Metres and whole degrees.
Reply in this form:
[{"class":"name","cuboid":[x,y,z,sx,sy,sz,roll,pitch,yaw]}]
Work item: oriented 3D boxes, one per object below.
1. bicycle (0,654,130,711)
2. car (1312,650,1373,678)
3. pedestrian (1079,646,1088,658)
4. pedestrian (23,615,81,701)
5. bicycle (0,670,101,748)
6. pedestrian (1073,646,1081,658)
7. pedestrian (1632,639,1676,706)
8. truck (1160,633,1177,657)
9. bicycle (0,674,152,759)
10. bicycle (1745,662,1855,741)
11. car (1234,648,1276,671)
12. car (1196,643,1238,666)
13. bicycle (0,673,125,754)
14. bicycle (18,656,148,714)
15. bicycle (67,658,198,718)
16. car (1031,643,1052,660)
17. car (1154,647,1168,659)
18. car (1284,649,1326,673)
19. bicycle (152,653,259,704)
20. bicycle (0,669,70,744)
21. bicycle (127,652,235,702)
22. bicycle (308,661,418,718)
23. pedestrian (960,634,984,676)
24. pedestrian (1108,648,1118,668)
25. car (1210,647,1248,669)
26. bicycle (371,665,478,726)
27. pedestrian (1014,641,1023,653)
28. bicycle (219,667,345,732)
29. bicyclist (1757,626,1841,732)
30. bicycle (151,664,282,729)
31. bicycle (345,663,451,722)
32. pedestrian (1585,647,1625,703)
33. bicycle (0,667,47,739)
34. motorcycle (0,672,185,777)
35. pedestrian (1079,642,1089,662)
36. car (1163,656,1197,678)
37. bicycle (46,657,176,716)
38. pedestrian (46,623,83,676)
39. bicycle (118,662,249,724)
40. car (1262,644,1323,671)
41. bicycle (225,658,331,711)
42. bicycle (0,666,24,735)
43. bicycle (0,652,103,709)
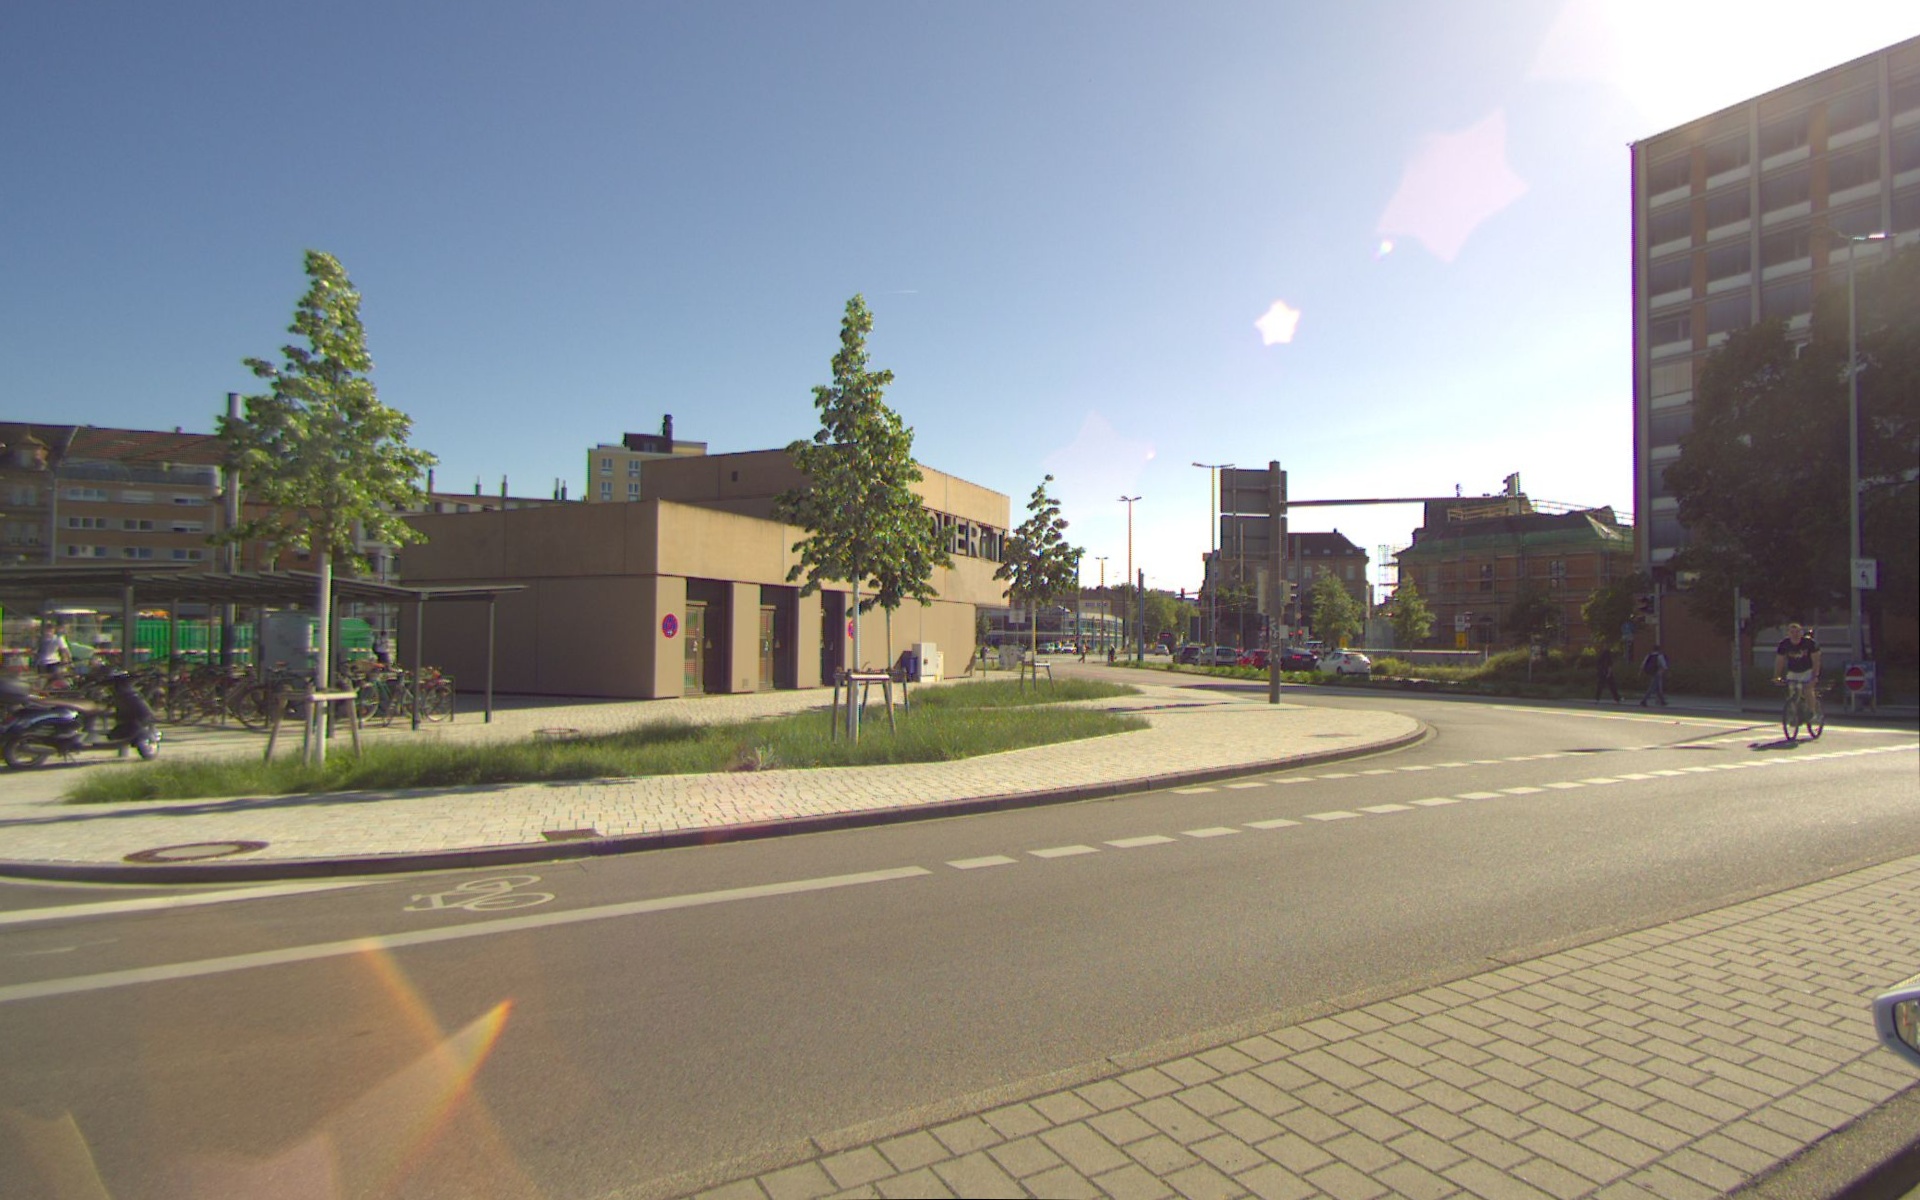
[{"class":"bicycle","cuboid":[-17.185,1.565,19.334,0.557,1.051,1.788,-1,-3,22]},{"class":"car","cuboid":[21.276,3.551,55.978,1.665,1.454,3.733,1,-2,-7]},{"class":"pedestrian","cuboid":[16.017,6.749,129.972,0.855,1.427,0.688,2,0,-32]},{"class":"pedestrian","cuboid":[-18.756,1.184,20.758,0.608,1.746,0.679,1,-2,-18]},{"class":"bicycle","cuboid":[-13.332,1.529,14.152,0.557,1.051,1.788,-1,-3,22]},{"class":"pedestrian","cuboid":[15.079,6.718,129.411,0.855,1.427,0.688,2,0,-32]},{"class":"pedestrian","cuboid":[19.800,2.062,28.656,1.086,1.856,0.748,4,-3,-38]},{"class":"truck","cuboid":[34.410,7.445,166.026,2.549,3.723,5.229,2,0,10]},{"class":"bicycle","cuboid":[-12.186,1.545,13.668,0.557,1.051,1.788,-1,-3,22]},{"class":"bicycle","cuboid":[13.444,1.590,16.075,1.848,1.180,0.742,2,-3,-30]},{"class":"car","cuboid":[20.253,4.063,69.066,1.644,1.461,3.722,3,-2,-2]},{"class":"car","cuboid":[17.448,3.678,68.299,1.697,1.461,3.798,1,-2,-3]},{"class":"bicycle","cuboid":[-12.784,1.550,13.928,0.557,1.051,1.788,-1,-3,22]},{"class":"bicycle","cuboid":[-16.624,1.586,19.097,0.557,1.051,1.788,-1,-3,22]},{"class":"bicycle","cuboid":[-15.242,1.596,18.558,0.557,1.051,1.788,-1,-3,22]},{"class":"car","cuboid":[11.091,6.952,136.556,1.960,2.040,4.001,2,0,16]},{"class":"car","cuboid":[27.767,7.322,138.871,1.750,1.565,3.642,2,0,13]},{"class":"car","cuboid":[25.875,4.575,75.462,1.846,1.638,3.626,2,-3,0]},{"class":"bicycle","cuboid":[-16.192,1.669,21.606,0.557,1.051,1.788,-1,-3,22]},{"class":"bicycle","cuboid":[-14.016,1.533,14.408,0.557,1.051,1.788,-1,-3,22]},{"class":"bicycle","cuboid":[-16.869,1.650,21.791,0.557,1.051,1.788,-1,-3,22]},{"class":"bicycle","cuboid":[-11.648,1.727,19.660,0.558,1.051,1.785,-2,-4,30]},{"class":"pedestrian","cuboid":[0.518,2.334,42.826,0.778,1.745,0.594,-2,-5,38]},{"class":"pedestrian","cuboid":[12.476,4.727,81.839,0.566,1.632,0.565,2,0,-30]},{"class":"car","cuboid":[20.248,4.361,75.666,1.697,1.461,3.799,3,-2,-2]},{"class":"bicycle","cuboid":[-9.849,1.737,18.548,0.557,1.051,1.788,-1,-3,22]},{"class":"pedestrian","cuboid":[7.410,5.899,126.512,0.854,1.427,0.689,2,0,-28]},{"class":"bicycle","cuboid":[-11.677,1.688,17.365,0.557,1.051,1.788,-1,-3,22]},{"class":"bicyclist","cuboid":[13.418,1.250,16.070,0.966,1.642,0.716,2,-3,-30]},{"class":"bicycle","cuboid":[-12.946,1.661,17.561,0.557,1.051,1.788,-1,-3,22]},{"class":"bicycle","cuboid":[-10.638,1.724,19.076,0.557,1.051,1.788,-1,-3,22]},{"class":"pedestrian","cuboid":[19.025,2.199,29.644,0.670,1.633,0.718,1,-2,-11]},{"class":"bicycle","cuboid":[-14.592,1.517,14.650,0.557,1.051,1.788,-1,-3,22]},{"class":"motorcycle","cuboid":[-10.927,1.502,12.484,0.584,1.134,1.983,0,-2,26]},{"class":"pedestrian","cuboid":[10.351,4.347,83.993,0.643,1.632,0.676,2,0,-4]},{"class":"car","cuboid":[16.411,4.957,75.068,1.696,1.461,3.912,3,-2,2]},{"class":"bicycle","cuboid":[-15.884,1.594,18.855,0.557,1.051,1.788,-1,-3,22]},{"class":"pedestrian","cuboid":[-26.119,1.446,29.291,0.550,1.538,0.588,0,-2,25]},{"class":"bicycle","cuboid":[-13.841,1.635,17.963,0.557,1.051,1.788,-1,-3,22]},{"class":"car","cuboid":[20.799,3.576,63.039,1.953,1.645,4.374,1,-2,-7]},{"class":"bicycle","cuboid":[-14.097,1.729,20.809,0.557,1.051,1.788,-1,-3,22]},{"class":"bicycle","cuboid":[-15.208,1.518,14.935,0.557,1.051,1.788,-1,-3,22]},{"class":"bicycle","cuboid":[-17.866,1.541,19.505,0.557,1.051,1.788,-1,-3,22]}]
